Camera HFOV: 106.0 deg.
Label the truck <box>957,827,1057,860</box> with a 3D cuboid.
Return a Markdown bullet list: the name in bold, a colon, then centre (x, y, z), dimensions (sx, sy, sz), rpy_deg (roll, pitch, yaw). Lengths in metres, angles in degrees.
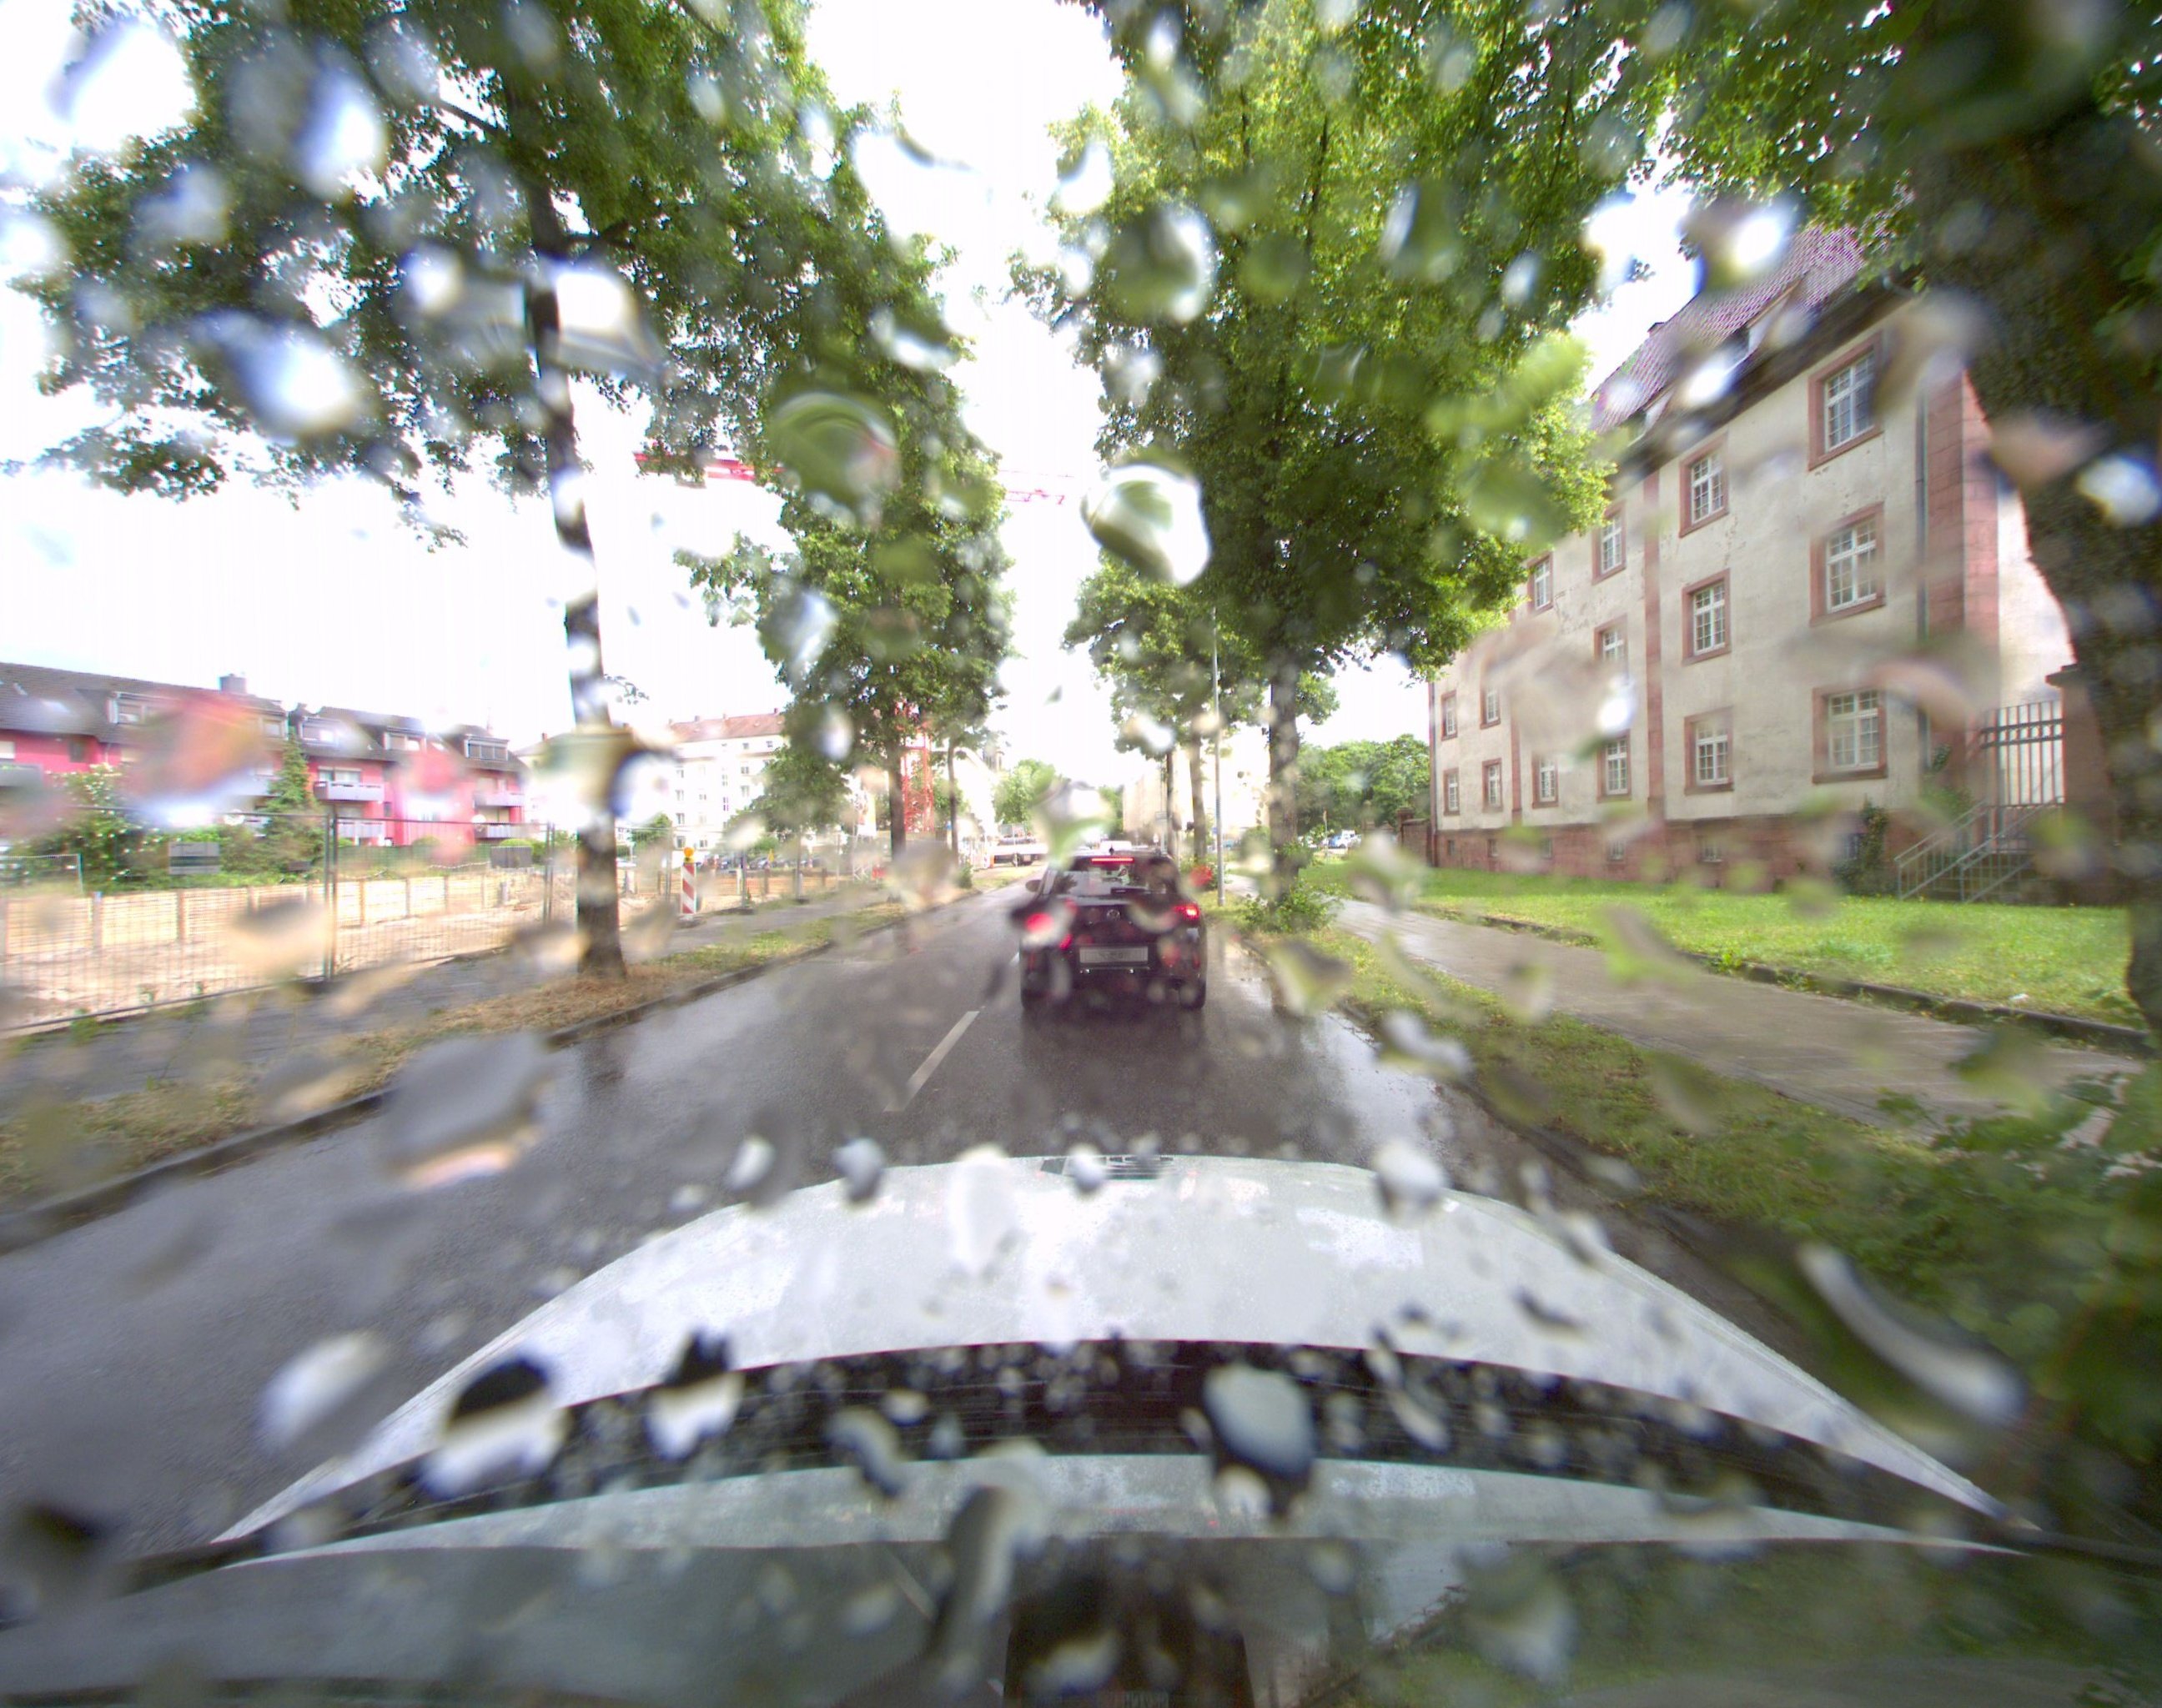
- **truck**: centre (-6.418, -0.924, 71.107), dimensions (8.148, 2.656, 2.828), rpy_deg (-1, 1, 18)

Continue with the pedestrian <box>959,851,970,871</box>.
- **pedestrian**: centre (-8.676, 0.519, 60.732), dimensions (0.663, 1.485, 0.668), rpy_deg (-1, 1, -23)

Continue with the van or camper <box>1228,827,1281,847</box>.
- **van or camper**: centre (17.429, -1.729, 81.979), dimensions (4.855, 1.925, 2.133), rpy_deg (-1, 1, 2)

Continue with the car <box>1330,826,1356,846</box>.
- **car**: centre (29.908, -2.030, 93.026), dimensions (1.984, 2.013, 4.007), rpy_deg (-4, 0, 6)

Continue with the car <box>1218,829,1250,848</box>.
- **car**: centre (17.311, -1.743, 91.877), dimensions (3.385, 1.781, 1.765), rpy_deg (-4, 0, 10)

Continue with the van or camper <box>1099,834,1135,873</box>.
- **van or camper**: centre (1.958, -0.038, 43.399), dimensions (1.812, 1.947, 4.199), rpy_deg (-1, 1, 3)

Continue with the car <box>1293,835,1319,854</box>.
- **car**: centre (21.410, -0.930, 77.562), dimensions (1.733, 1.683, 3.879), rpy_deg (-4, 0, 8)

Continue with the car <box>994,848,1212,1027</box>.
- **car**: centre (0.257, 0.720, 9.124), dimensions (1.887, 1.522, 4.002), rpy_deg (-1, 1, 2)

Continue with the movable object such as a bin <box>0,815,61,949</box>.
- **movable object such as a bin**: centre (-54.692, 1.480, 32.069), dimensions (6.806, 6.043, 16.846), rpy_deg (0, 2, 26)

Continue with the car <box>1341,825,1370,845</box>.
- **car**: centre (29.631, -2.018, 87.901), dimensions (1.984, 2.013, 4.007), rpy_deg (-4, 0, 6)

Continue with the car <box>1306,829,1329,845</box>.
- **car**: centre (28.671, -2.049, 98.903), dimensions (1.858, 1.857, 3.816), rpy_deg (-4, 0, 6)

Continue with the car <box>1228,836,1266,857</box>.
- **car**: centre (15.602, -0.733, 76.805), dimensions (3.388, 1.781, 1.764), rpy_deg (-3, 0, 8)

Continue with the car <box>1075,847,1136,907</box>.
- **car**: centre (0.888, 0.706, 26.899), dimensions (1.672, 1.708, 3.915), rpy_deg (-4, 0, 5)

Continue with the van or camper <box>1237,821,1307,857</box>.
- **van or camper**: centre (15.086, -1.171, 64.555), dimensions (5.016, 2.595, 2.168), rpy_deg (-2, 0, 0)

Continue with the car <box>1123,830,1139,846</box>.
- **car**: centre (6.757, -2.136, 110.391), dimensions (1.986, 2.013, 4.002), rpy_deg (-3, 0, 2)

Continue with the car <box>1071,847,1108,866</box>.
- **car**: centre (0.903, 0.251, 85.694), dimensions (1.737, 1.651, 3.961), rpy_deg (-4, 0, 37)
